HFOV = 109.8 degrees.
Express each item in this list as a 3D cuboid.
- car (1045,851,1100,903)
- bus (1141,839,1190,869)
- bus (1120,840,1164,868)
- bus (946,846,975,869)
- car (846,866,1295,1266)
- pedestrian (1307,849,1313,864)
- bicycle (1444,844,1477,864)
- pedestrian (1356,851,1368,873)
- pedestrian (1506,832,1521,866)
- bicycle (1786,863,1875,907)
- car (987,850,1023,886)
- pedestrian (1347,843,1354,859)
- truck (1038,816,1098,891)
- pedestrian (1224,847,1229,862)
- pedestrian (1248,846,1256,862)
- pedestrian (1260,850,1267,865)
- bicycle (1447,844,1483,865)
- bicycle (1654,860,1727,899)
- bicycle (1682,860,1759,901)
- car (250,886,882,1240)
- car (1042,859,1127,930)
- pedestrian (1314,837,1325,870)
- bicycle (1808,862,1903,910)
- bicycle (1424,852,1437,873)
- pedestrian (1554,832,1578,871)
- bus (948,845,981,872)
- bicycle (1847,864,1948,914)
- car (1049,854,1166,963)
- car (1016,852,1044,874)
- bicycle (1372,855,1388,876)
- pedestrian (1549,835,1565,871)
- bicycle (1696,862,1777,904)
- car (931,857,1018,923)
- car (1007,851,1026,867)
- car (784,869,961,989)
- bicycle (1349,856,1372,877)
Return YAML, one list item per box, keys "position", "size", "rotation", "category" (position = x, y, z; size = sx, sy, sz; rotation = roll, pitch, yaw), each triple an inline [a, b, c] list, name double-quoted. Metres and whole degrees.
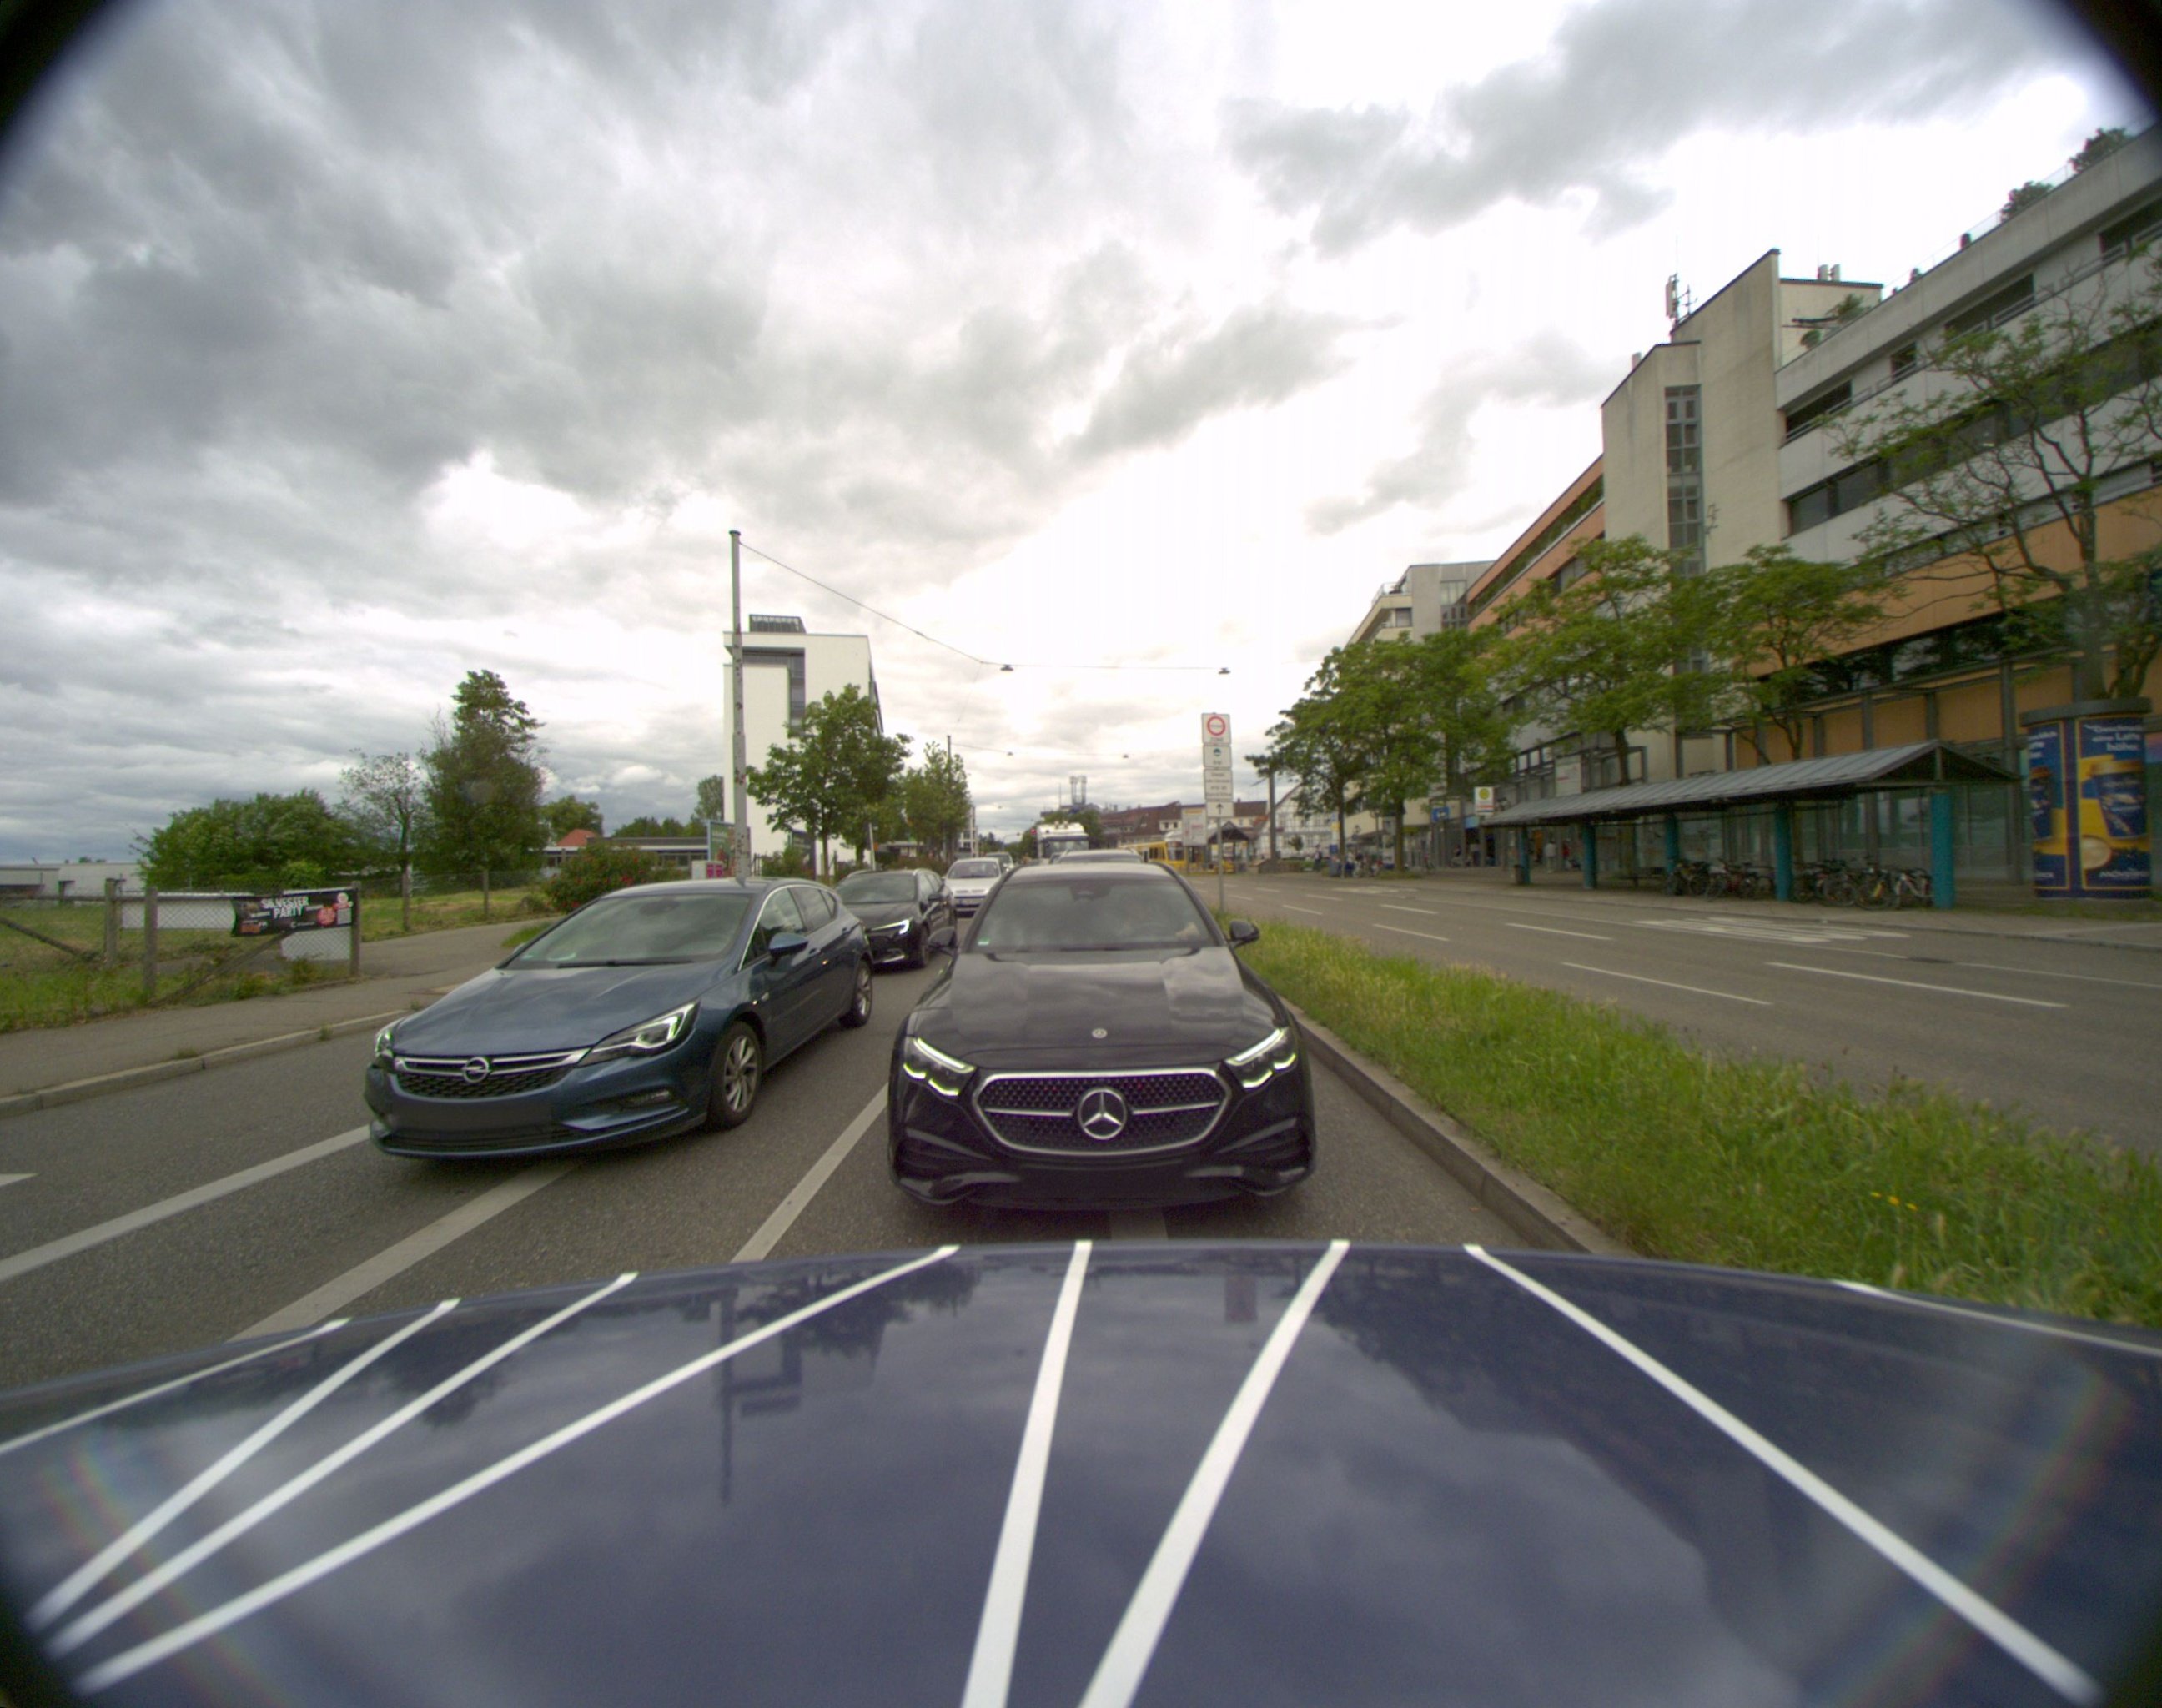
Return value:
- position: [-0.365, 0.777, 28.347]
  size: [1.865, 1.773, 3.999]
  rotation: [-1, 0, -2]
  category: "car"
- position: [8.701, 0.018, 79.017]
  size: [2.556, 2.966, 8.498]
  rotation: [-1, 0, -11]
  category: "bus"
- position: [6.937, -0.007, 87.953]
  size: [2.556, 2.966, 9.790]
  rotation: [-1, 0, -11]
  category: "bus"
- position: [-15.220, 0.363, 95.052]
  size: [2.969, 2.616, 12.911]
  rotation: [-2, 1, -11]
  category: "bus"
- position: [-0.051, 0.889, 5.192]
  size: [1.793, 1.507, 4.249]
  rotation: [-1, 0, 0]
  category: "car"
- position: [23.426, 0.266, 77.779]
  size: [0.555, 1.485, 0.454]
  rotation: [-1, 1, 8]
  category: "pedestrian"
- position: [27.758, -0.019, 55.554]
  size: [2.138, 1.358, 0.620]
  rotation: [-2, 1, 26]
  category: "bicycle"
- position: [24.059, 0.660, 65.109]
  size: [0.765, 1.835, 0.752]
  rotation: [-1, 1, 1]
  category: "pedestrian"
- position: [25.590, -0.308, 44.993]
  size: [0.566, 2.002, 0.611]
  rotation: [-1, 1, 6]
  category: "pedestrian"
- position: [19.027, 0.779, 19.310]
  size: [1.735, 1.035, 0.549]
  rotation: [-2, 1, -2]
  category: "bicycle"
- position: [-4.285, 0.776, 43.267]
  size: [1.852, 1.875, 4.134]
  rotation: [-3, 0, -5]
  category: "car"
- position: [19.507, -0.206, 55.026]
  size: [0.341, 1.172, 0.369]
  rotation: [-1, 1, -9]
  category: "pedestrian"
- position: [-0.765, -0.034, 36.726]
  size: [2.490, 3.258, 7.428]
  rotation: [-1, 0, -4]
  category: "truck"
- position: [20.737, 0.073, 108.189]
  size: [0.742, 2.002, 0.939]
  rotation: [-1, 1, 11]
  category: "pedestrian"
- position: [22.354, 0.022, 99.069]
  size: [0.879, 2.002, 1.010]
  rotation: [-1, 1, 6]
  category: "pedestrian"
- position: [19.266, 0.377, 80.140]
  size: [0.577, 1.533, 0.583]
  rotation: [-1, 1, -8]
  category: "pedestrian"
- position: [26.995, 0.039, 53.402]
  size: [2.139, 1.367, 0.620]
  rotation: [-2, 1, 18]
  category: "bicycle"
- position: [18.206, 0.753, 22.705]
  size: [1.735, 1.035, 0.549]
  rotation: [-3, 1, -2]
  category: "bicycle"
- position: [18.285, 0.748, 21.745]
  size: [1.735, 1.035, 0.549]
  rotation: [-4, 1, -2]
  category: "bicycle"
- position: [-2.912, 1.055, 5.529]
  size: [1.826, 1.402, 4.000]
  rotation: [-2, 0, 0]
  category: "car"
- position: [0.046, 0.917, 18.911]
  size: [1.865, 1.520, 3.999]
  rotation: [-1, 0, -1]
  category: "car"
- position: [16.726, -0.027, 53.291]
  size: [0.590, 2.294, 0.608]
  rotation: [-1, 1, -2]
  category: "pedestrian"
- position: [18.627, 0.756, 18.286]
  size: [1.735, 1.035, 0.549]
  rotation: [-3, 1, -2]
  category: "bicycle"
- position: [19.488, 0.476, 42.387]
  size: [0.593, 1.119, 2.040]
  rotation: [0, 1, 24]
  category: "bicycle"
- position: [25.162, -0.143, 39.407]
  size: [0.710, 2.002, 0.794]
  rotation: [-2, 1, 0]
  category: "pedestrian"
- position: [-12.815, 0.407, 82.729]
  size: [2.969, 2.616, 12.137]
  rotation: [-2, 1, -11]
  category: "bus"
- position: [18.687, 0.789, 17.400]
  size: [1.735, 1.035, 0.549]
  rotation: [-2, 1, -2]
  category: "bicycle"
- position: [0.394, 0.826, 13.484]
  size: [1.734, 1.601, 4.000]
  rotation: [-2, 0, 0]
  category: "car"
- position: [-4.320, 0.738, 64.176]
  size: [2.000, 1.674, 3.997]
  rotation: [-4, 1, -8]
  category: "car"
- position: [16.403, 0.630, 41.648]
  size: [0.593, 1.071, 2.041]
  rotation: [0, 1, 29]
  category: "bicycle"
- position: [24.100, -0.041, 38.491]
  size: [0.648, 1.799, 0.761]
  rotation: [0, 1, 34]
  category: "pedestrian"
- position: [17.949, 0.795, 20.812]
  size: [1.735, 1.035, 0.549]
  rotation: [-3, 1, -2]
  category: "bicycle"
- position: [-2.950, 0.940, 21.751]
  size: [1.851, 1.606, 3.783]
  rotation: [-3, 0, 0]
  category: "car"
- position: [-7.727, 0.590, 90.458]
  size: [2.000, 1.674, 3.997]
  rotation: [-4, 1, -8]
  category: "car"
- position: [-3.072, 1.027, 12.022]
  size: [1.665, 1.448, 3.921]
  rotation: [-2, 0, 0]
  category: "car"
- position: [15.480, 0.663, 42.019]
  size: [0.593, 1.071, 2.041]
  rotation: [0, 1, 38]
  category: "bicycle"
